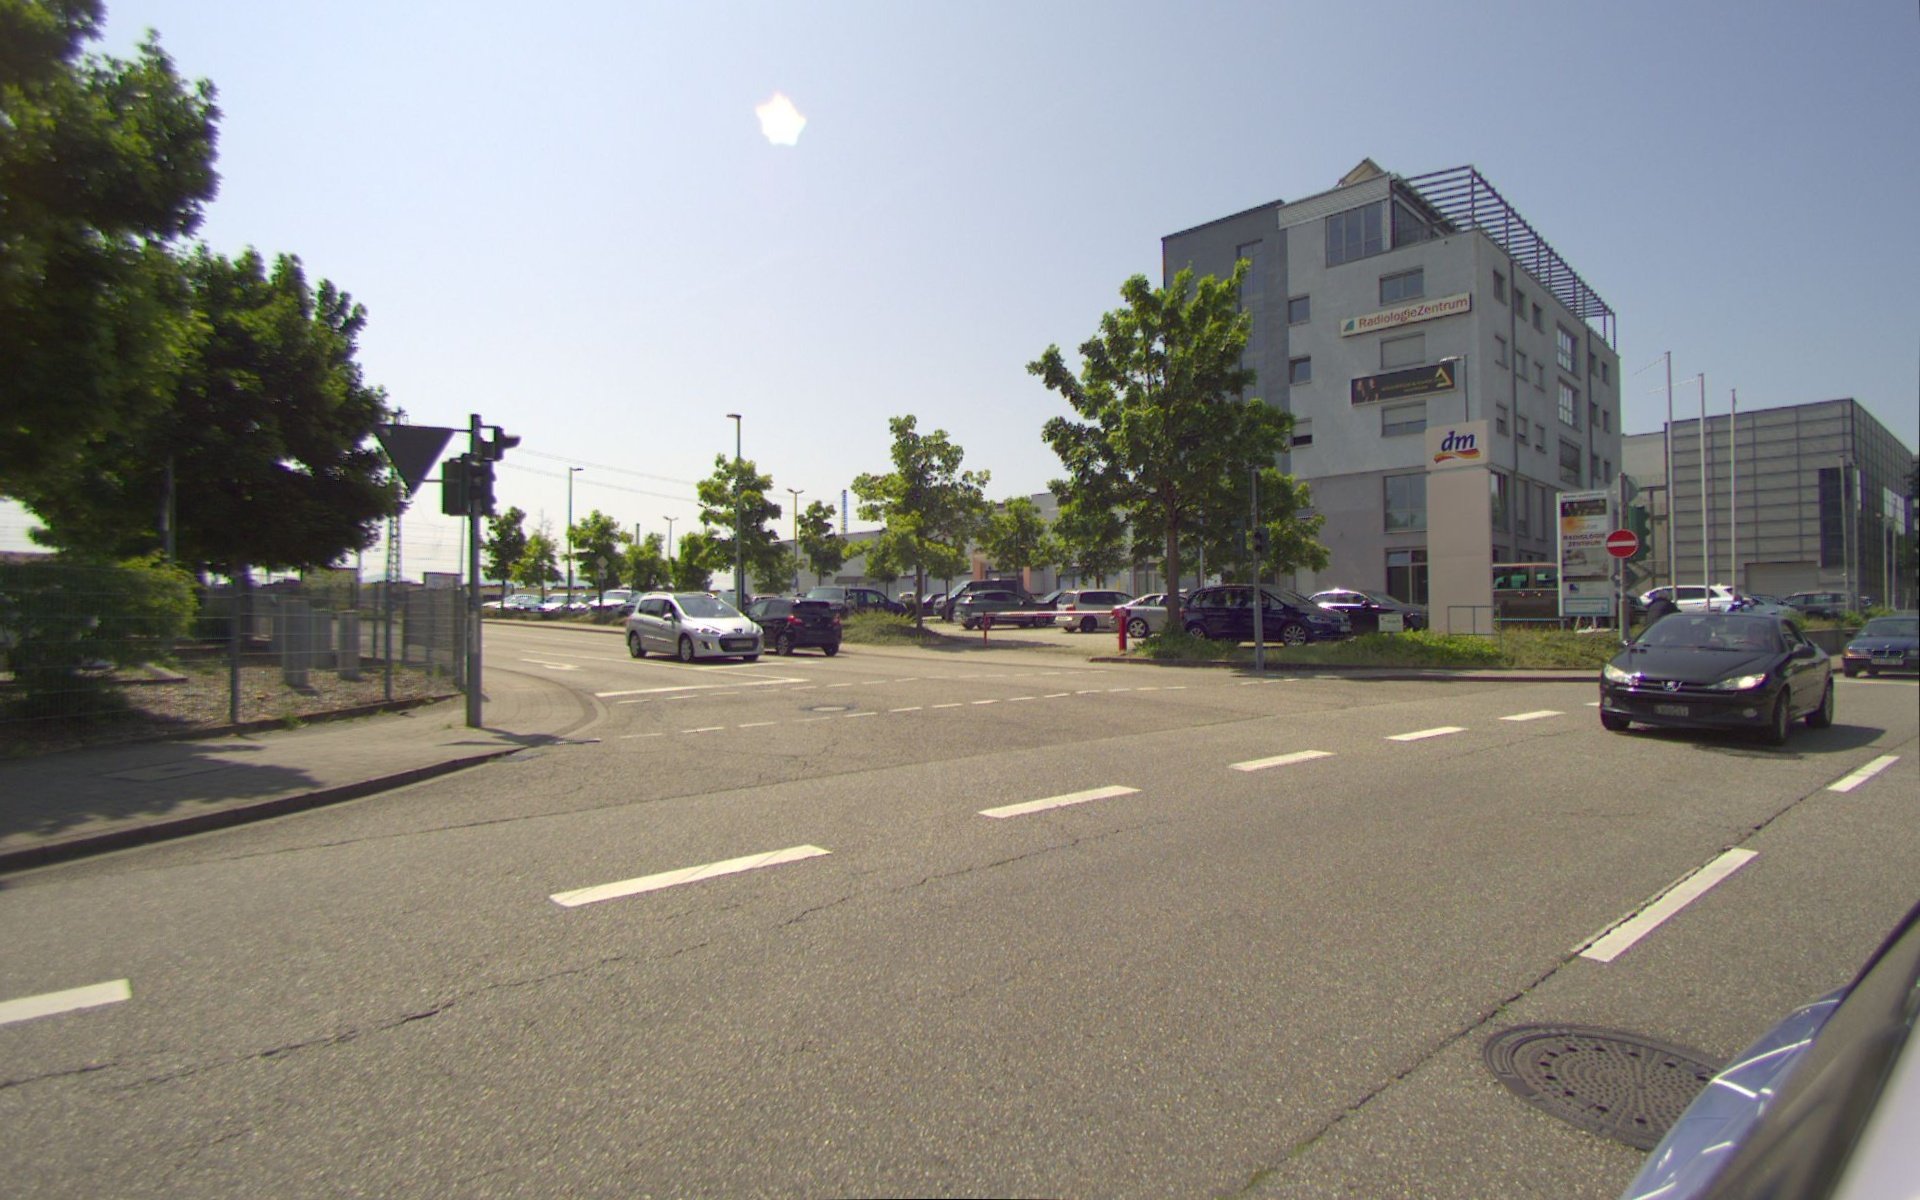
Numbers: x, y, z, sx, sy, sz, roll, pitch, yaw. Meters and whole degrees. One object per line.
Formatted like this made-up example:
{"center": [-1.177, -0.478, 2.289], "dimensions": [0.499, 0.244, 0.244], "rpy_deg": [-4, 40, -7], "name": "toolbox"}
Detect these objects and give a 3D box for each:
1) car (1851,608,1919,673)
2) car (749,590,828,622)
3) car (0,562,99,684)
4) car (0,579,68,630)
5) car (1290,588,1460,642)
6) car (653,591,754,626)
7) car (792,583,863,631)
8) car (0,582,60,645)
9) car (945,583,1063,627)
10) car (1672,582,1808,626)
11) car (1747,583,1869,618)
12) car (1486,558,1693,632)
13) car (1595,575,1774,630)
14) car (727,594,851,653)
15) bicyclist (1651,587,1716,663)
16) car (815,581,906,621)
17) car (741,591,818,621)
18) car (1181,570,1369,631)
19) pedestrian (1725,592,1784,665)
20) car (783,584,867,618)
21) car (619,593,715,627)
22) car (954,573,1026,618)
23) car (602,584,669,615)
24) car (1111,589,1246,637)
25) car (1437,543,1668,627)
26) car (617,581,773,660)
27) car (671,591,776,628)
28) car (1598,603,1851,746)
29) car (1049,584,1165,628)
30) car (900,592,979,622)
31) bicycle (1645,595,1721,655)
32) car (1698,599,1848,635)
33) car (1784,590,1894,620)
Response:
{"center": [21.419, 0.863, 22.566], "dimensions": [3.885, 1.341, 1.710], "rpy_deg": [0, -2, -40], "name": "car"}
{"center": [-9.165, 0.313, 54.088], "dimensions": [3.916, 1.616, 1.771], "rpy_deg": [0, 0, -22], "name": "car"}
{"center": [-12.684, 0.249, 12.131], "dimensions": [1.420, 1.456, 3.477], "rpy_deg": [2, 1, 44], "name": "car"}
{"center": [-28.597, 0.118, 29.164], "dimensions": [4.247, 1.468, 1.708], "rpy_deg": [0, 0, -40], "name": "car"}
{"center": [11.078, 0.368, 27.169], "dimensions": [1.728, 1.356, 3.872], "rpy_deg": [0, 0, -45], "name": "car"}
{"center": [-10.354, 0.331, 40.937], "dimensions": [3.541, 1.371, 1.750], "rpy_deg": [0, 0, -41], "name": "car"}
{"center": [-4.861, 0.238, 37.766], "dimensions": [1.963, 1.661, 4.344], "rpy_deg": [0, 0, 1], "name": "car"}
{"center": [-23.222, 0.301, 23.466], "dimensions": [1.700, 1.467, 3.373], "rpy_deg": [1, 0, 43], "name": "car"}
{"center": [1.885, 0.225, 43.455], "dimensions": [4.648, 1.734, 2.003], "rpy_deg": [-1, -2, -21], "name": "car"}
{"center": [29.749, 0.171, 38.742], "dimensions": [3.976, 1.505, 1.735], "rpy_deg": [-3, -2, 37], "name": "car"}
{"center": [39.939, 0.037, 47.739], "dimensions": [1.728, 1.505, 4.133], "rpy_deg": [0, -2, -40], "name": "car"}
{"center": [17.421, -0.105, 28.205], "dimensions": [1.964, 1.721, 4.417], "rpy_deg": [-1, -3, -39], "name": "car"}
{"center": [23.871, 0.115, 33.439], "dimensions": [2.062, 1.630, 4.466], "rpy_deg": [0, -2, -43], "name": "car"}
{"center": [-4.448, 0.573, 26.097], "dimensions": [1.593, 1.419, 3.425], "rpy_deg": [1, 0, -42], "name": "car"}
{"center": [14.604, 0.495, 20.422], "dimensions": [1.071, 1.483, 0.775], "rpy_deg": [0, -2, -40], "name": "bicyclist"}
{"center": [-4.851, 0.085, 49.143], "dimensions": [4.104, 1.812, 1.676], "rpy_deg": [1, -3, -18], "name": "car"}
{"center": [-10.007, 0.323, 55.974], "dimensions": [3.916, 1.616, 1.771], "rpy_deg": [0, 0, -22], "name": "car"}
{"center": [7.561, 0.011, 24.524], "dimensions": [1.833, 1.356, 3.988], "rpy_deg": [0, 0, -45], "name": "car"}
{"center": [18.502, 0.650, 23.565], "dimensions": [0.987, 1.646, 0.829], "rpy_deg": [-1, -1, -40], "name": "pedestrian"}
{"center": [-6.904, 0.039, 51.656], "dimensions": [3.916, 1.660, 1.725], "rpy_deg": [0, 0, -22], "name": "car"}
{"center": [-12.420, 0.392, 43.017], "dimensions": [3.541, 1.371, 1.750], "rpy_deg": [0, 0, -41], "name": "car"}
{"center": [1.521, -0.202, 51.798], "dimensions": [3.358, 2.222, 1.675], "rpy_deg": [1, -3, -13], "name": "car"}
{"center": [-16.349, -0.023, 50.949], "dimensions": [2.920, 1.485, 1.430], "rpy_deg": [0, 0, -35], "name": "car"}
{"center": [6.938, 0.377, 32.132], "dimensions": [3.956, 1.416, 1.801], "rpy_deg": [1, 0, 24], "name": "car"}
{"center": [15.356, -0.310, 26.469], "dimensions": [2.144, 1.822, 4.701], "rpy_deg": [1, -4, -40], "name": "car"}
{"center": [-6.182, 0.447, 23.321], "dimensions": [1.776, 1.638, 4.253], "rpy_deg": [0, -1, -41], "name": "car"}
{"center": [-9.088, 0.335, 39.026], "dimensions": [3.541, 1.371, 1.750], "rpy_deg": [0, 0, -41], "name": "car"}
{"center": [8.874, 0.734, 11.667], "dimensions": [3.438, 1.373, 1.640], "rpy_deg": [0, 1, -41], "name": "car"}
{"center": [5.690, 0.218, 39.165], "dimensions": [4.104, 1.620, 1.676], "rpy_deg": [0, 0, -15], "name": "car"}
{"center": [-1.112, 0.357, 54.429], "dimensions": [3.916, 1.594, 1.769], "rpy_deg": [0, 0, -21], "name": "car"}
{"center": [14.551, 0.484, 20.361], "dimensions": [1.874, 1.147, 0.759], "rpy_deg": [0, -2, -40], "name": "bicycle"}
{"center": [34.433, 0.745, 42.947], "dimensions": [1.770, 1.399, 4.750], "rpy_deg": [0, -2, -44], "name": "car"}
{"center": [45.691, 0.264, 52.671], "dimensions": [1.728, 1.505, 4.134], "rpy_deg": [0, 0, -40], "name": "car"}
